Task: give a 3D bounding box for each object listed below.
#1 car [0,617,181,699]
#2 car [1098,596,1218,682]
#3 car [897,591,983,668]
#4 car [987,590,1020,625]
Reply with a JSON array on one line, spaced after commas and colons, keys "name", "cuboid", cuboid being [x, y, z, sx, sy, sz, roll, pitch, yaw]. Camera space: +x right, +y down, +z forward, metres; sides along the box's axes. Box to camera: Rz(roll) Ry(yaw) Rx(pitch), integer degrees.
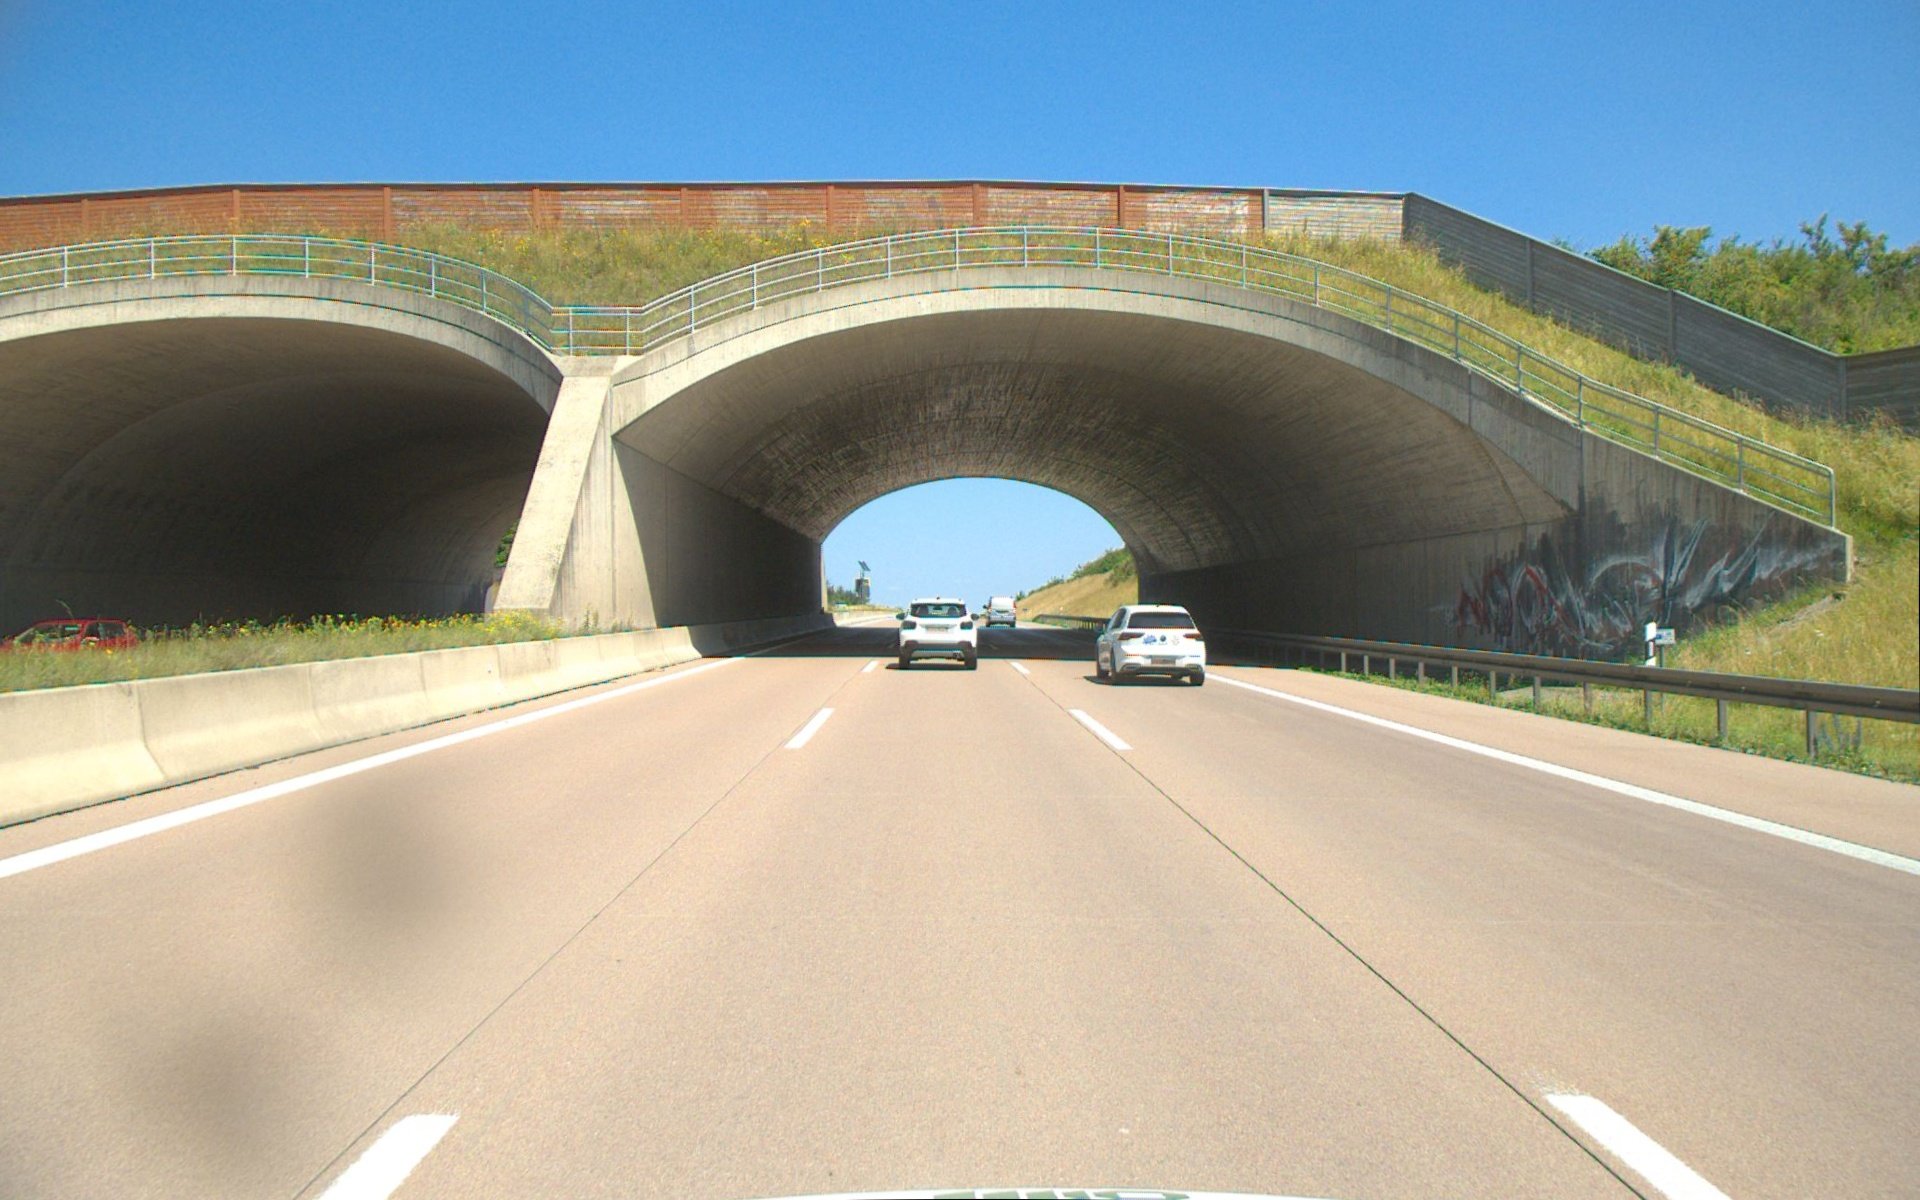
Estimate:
[{"name": "car", "cuboid": [-19.204, 1.217, 36.320, 1.852, 1.622, 4.977, 0, 0, -1]}, {"name": "car", "cuboid": [3.716, 0.696, 31.680, 1.852, 1.422, 4.001, 1, 1, 1]}, {"name": "car", "cuboid": [-0.466, 0.630, 37.910, 1.841, 1.635, 4.833, 1, 0, -1]}, {"name": "car", "cuboid": [2.747, 0.475, 105.967, 2.067, 2.089, 4.001, 1, 1, 1]}]
